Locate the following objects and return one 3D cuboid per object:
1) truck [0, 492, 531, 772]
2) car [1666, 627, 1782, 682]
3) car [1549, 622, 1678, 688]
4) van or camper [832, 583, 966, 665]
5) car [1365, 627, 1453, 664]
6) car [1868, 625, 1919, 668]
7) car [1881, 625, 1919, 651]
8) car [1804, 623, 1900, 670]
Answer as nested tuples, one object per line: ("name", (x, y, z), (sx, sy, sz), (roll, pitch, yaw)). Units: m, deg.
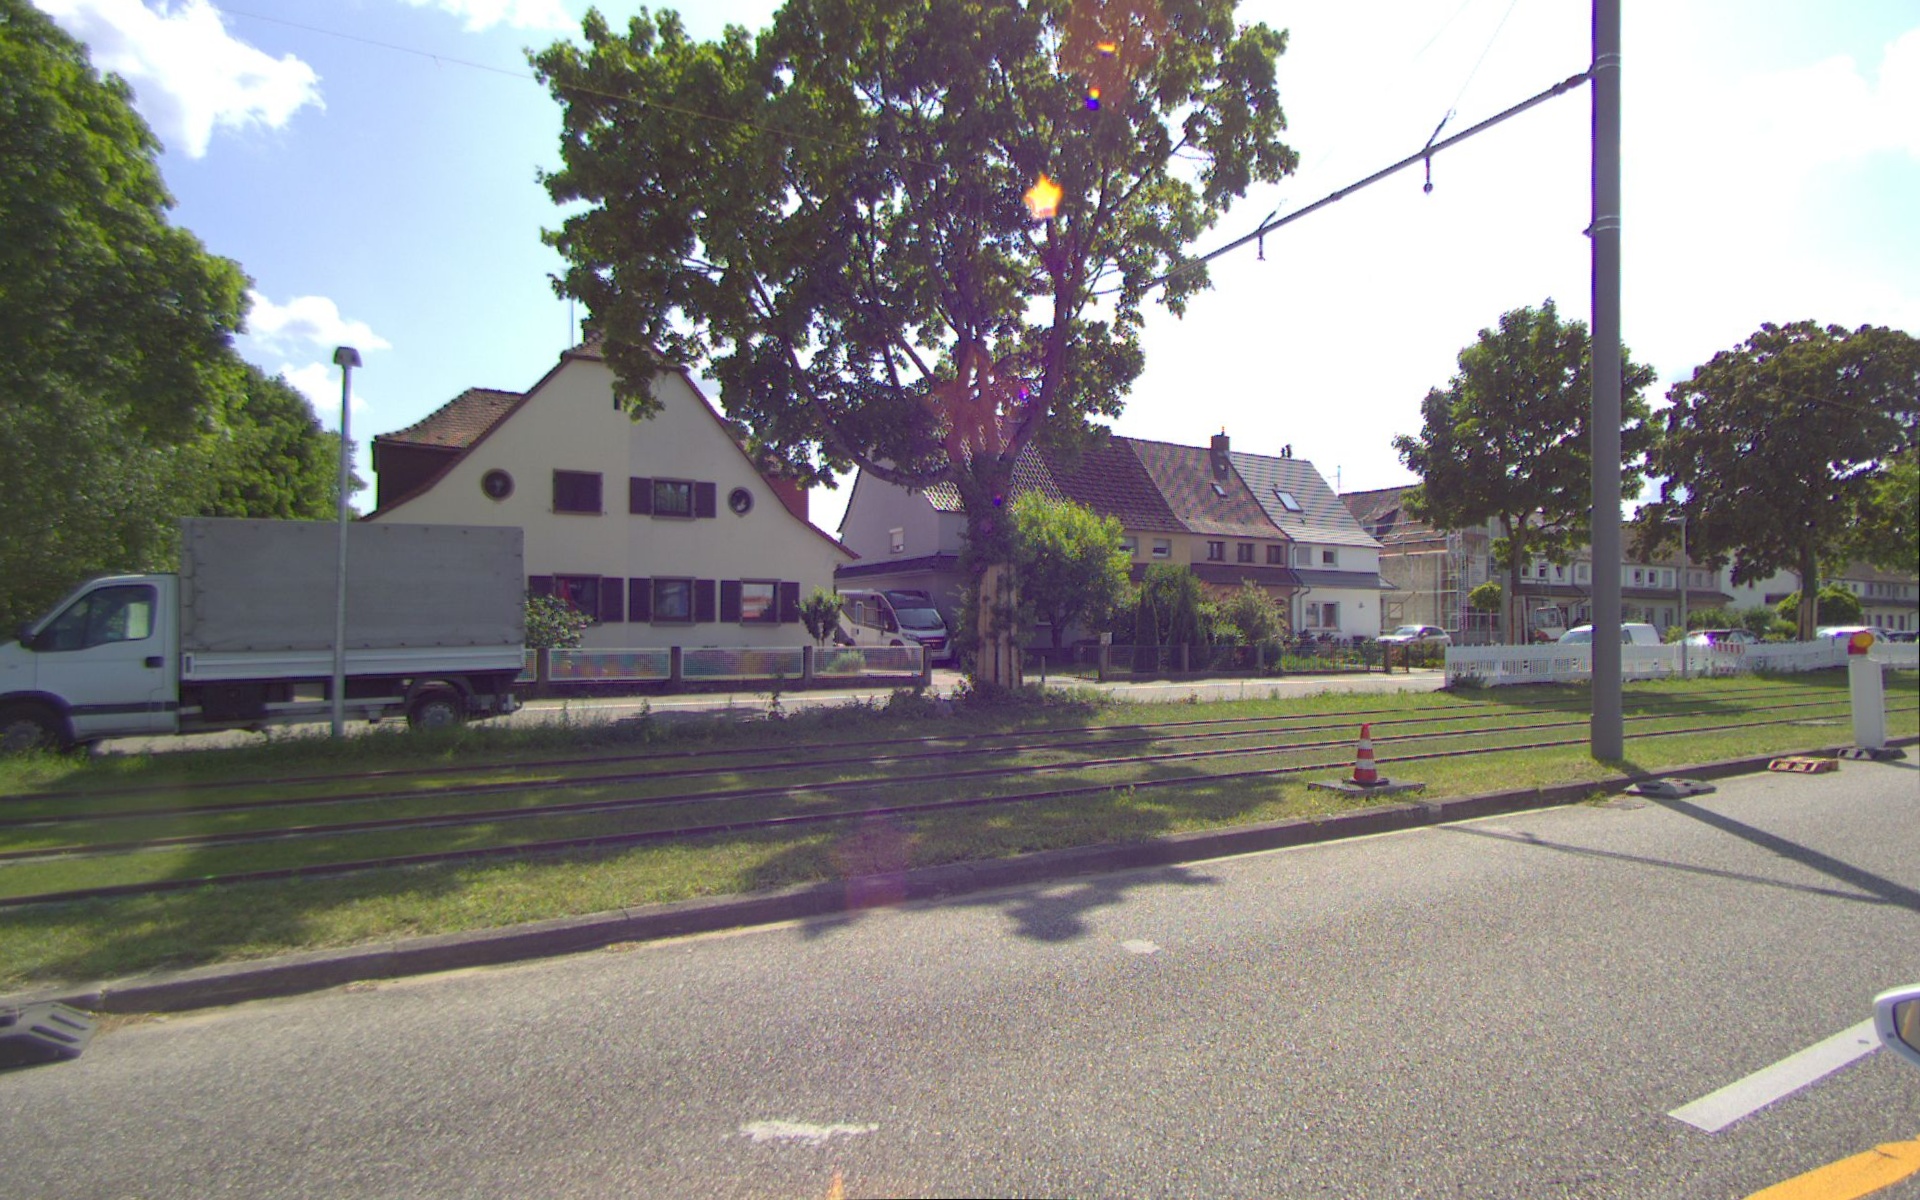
("truck", (-8.793, 0.410, 12.937), (5.805, 3.027, 1.994), (1, -2, -30))
("car", (25.752, 1.797, 33.828), (4.006, 1.762, 1.691), (1, -2, -30))
("car", (19.507, 1.602, 29.962), (3.814, 1.841, 1.691), (1, -2, -30))
("van or camper", (-2.345, 0.904, 36.653), (2.224, 2.745, 5.963), (1, -2, -33))
("car", (19.895, 1.991, 44.481), (3.814, 1.614, 1.691), (1, -2, -30))
("car", (40.395, 1.959, 42.601), (3.814, 1.762, 1.691), (1, -2, -30))
("car", (66.760, 2.682, 70.730), (4.013, 1.762, 1.691), (1, -2, -30))
("car", (34.982, 1.800, 39.395), (3.814, 1.762, 1.691), (1, -2, -30))
